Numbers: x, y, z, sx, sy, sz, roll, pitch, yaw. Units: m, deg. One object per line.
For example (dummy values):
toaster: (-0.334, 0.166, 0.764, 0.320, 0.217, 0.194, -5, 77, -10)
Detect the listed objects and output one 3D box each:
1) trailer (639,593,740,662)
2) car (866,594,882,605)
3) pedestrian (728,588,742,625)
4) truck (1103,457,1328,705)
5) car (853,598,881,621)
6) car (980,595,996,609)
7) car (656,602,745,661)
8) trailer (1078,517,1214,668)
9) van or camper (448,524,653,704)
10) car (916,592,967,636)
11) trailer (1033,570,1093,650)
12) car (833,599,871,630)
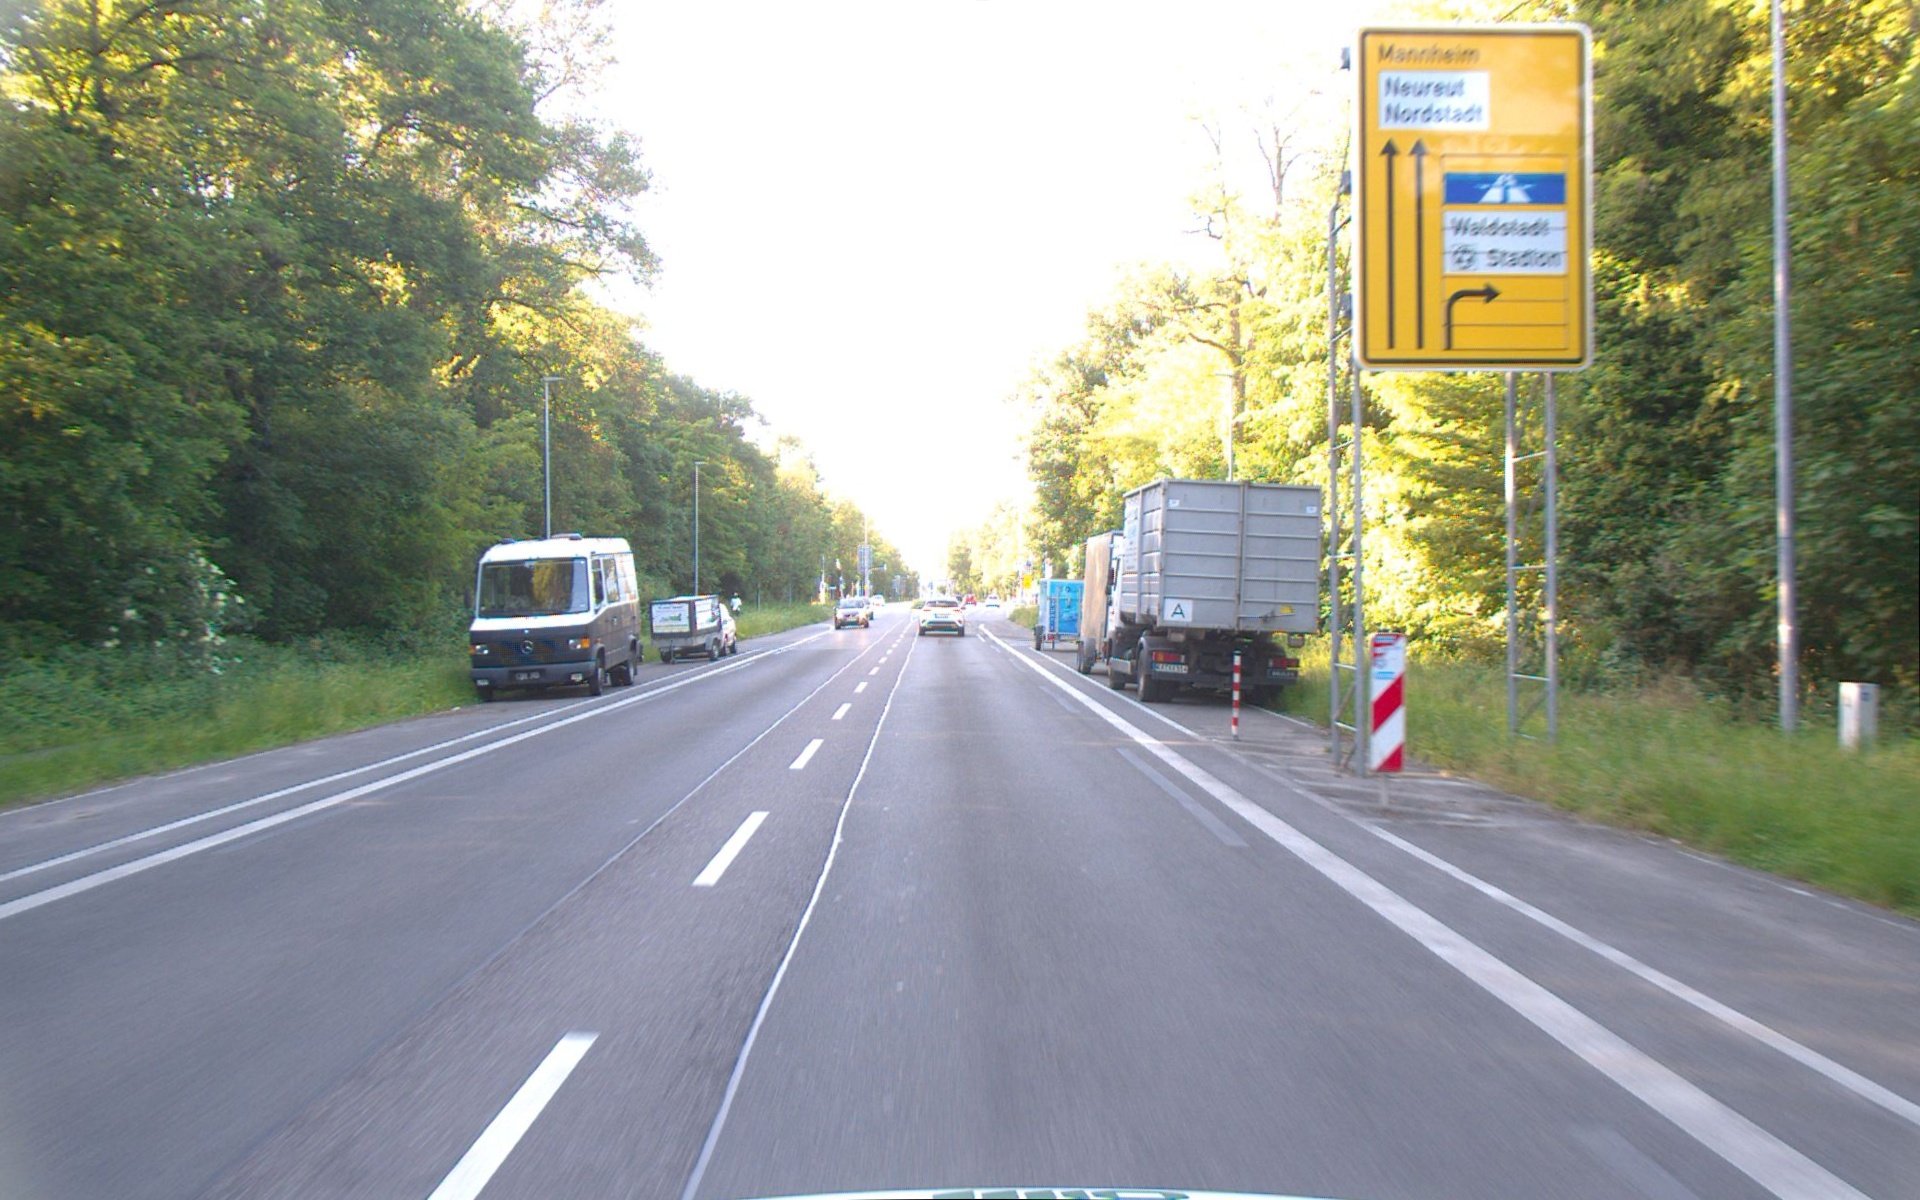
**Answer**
trailer: (-6.994, 0.687, 43.043, 1.439, 1.688, 3.368, -2, 0, 12)
car: (-11.206, -0.058, 215.542, 1.953, 1.489, 3.999, 1, 0, -1)
pedestrian: (-12.790, 0.379, 93.904, 0.679, 2.049, 0.712, 1, 0, 0)
truck: (3.866, -0.256, 26.591, 2.454, 3.425, 7.106, 1, 0, 0)
car: (-6.208, 0.624, 110.597, 1.644, 1.516, 4.689, -1, 0, 0)
car: (3.459, 0.218, 205.483, 1.953, 1.646, 4.000, 1, 0, 0)
car: (-7.341, 0.856, 47.198, 1.830, 1.489, 4.132, -4, 0, 0)
trailer: (3.799, -0.144, 34.736, 2.226, 2.894, 5.207, 1, 0, 0)
van or camper: (-7.180, 0.208, 29.709, 2.255, 2.816, 5.556, -3, 0, -1)
car: (-0.753, 0.539, 65.714, 1.953, 1.668, 3.999, -1, 0, -1)
trailer: (3.079, 0.283, 50.051, 1.469, 2.274, 4.549, 1, 0, 0)
car: (-5.318, 0.713, 81.790, 1.644, 1.440, 4.000, -1, 0, -1)
